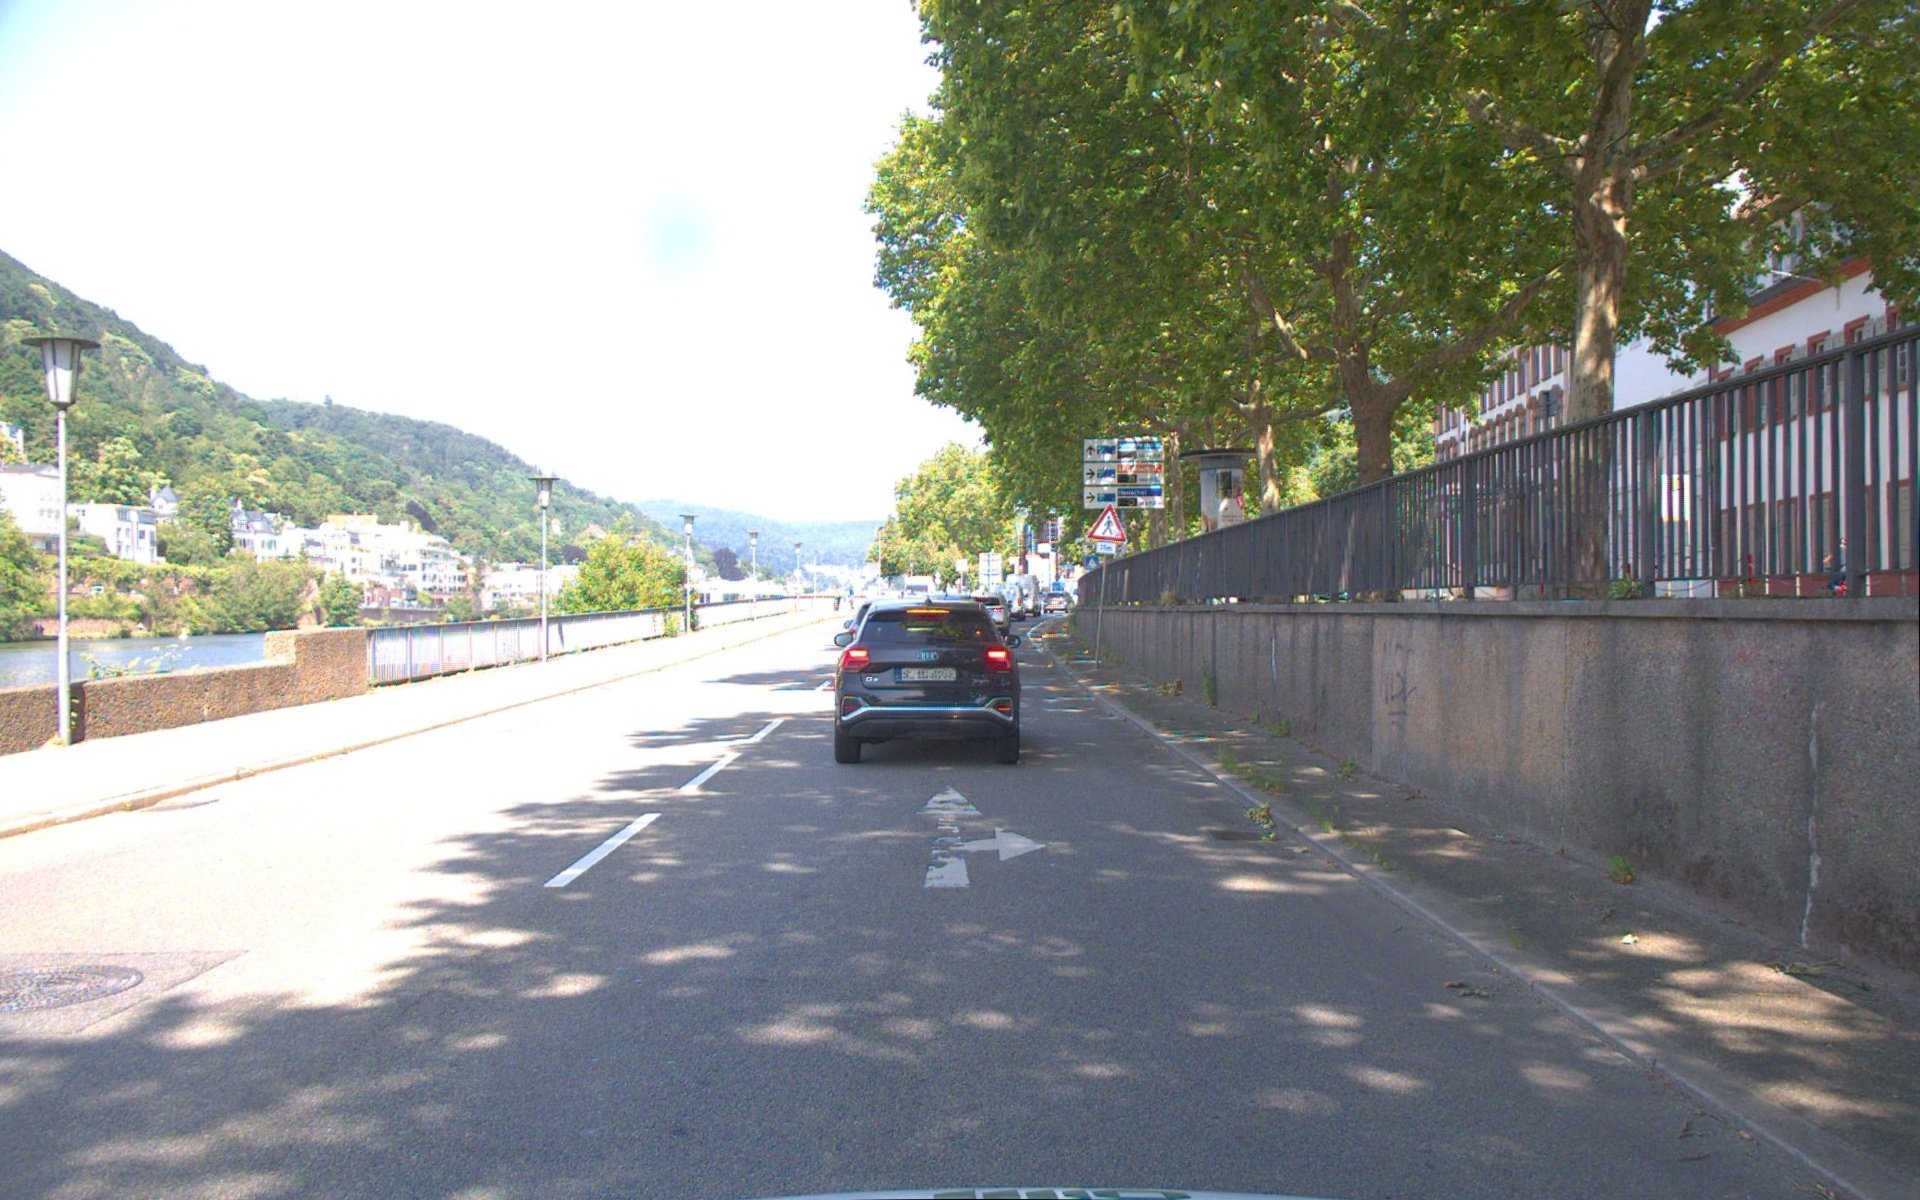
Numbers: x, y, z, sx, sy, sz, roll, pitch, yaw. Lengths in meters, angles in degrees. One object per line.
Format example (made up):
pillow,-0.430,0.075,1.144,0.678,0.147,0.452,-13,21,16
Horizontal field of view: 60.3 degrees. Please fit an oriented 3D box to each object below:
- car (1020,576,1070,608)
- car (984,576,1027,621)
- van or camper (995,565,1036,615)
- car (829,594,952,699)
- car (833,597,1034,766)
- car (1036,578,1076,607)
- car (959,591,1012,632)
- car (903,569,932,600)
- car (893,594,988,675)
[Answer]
car,6.004,-0.551,117.478,3.036,2.048,5.822,-3,0,-1
car,2.421,-0.089,87.231,1.952,2.207,4.003,-3,0,5
van or camper,3.359,-0.612,100.902,2.263,2.896,4.246,-3,0,1
car,-1.061,0.683,26.284,1.791,1.537,3.999,0,0,-1
car,-0.279,0.726,16.805,1.791,1.512,3.999,0,0,-1
car,7.518,-0.575,130.194,2.608,2.048,5.823,-3,0,-1
car,0.897,0.404,60.457,1.791,1.470,3.999,0,0,-1
car,-3.081,-1.103,119.449,1.953,2.048,3.999,-3,0,-1
car,-0.411,0.637,33.042,1.791,1.512,3.999,0,0,-1
